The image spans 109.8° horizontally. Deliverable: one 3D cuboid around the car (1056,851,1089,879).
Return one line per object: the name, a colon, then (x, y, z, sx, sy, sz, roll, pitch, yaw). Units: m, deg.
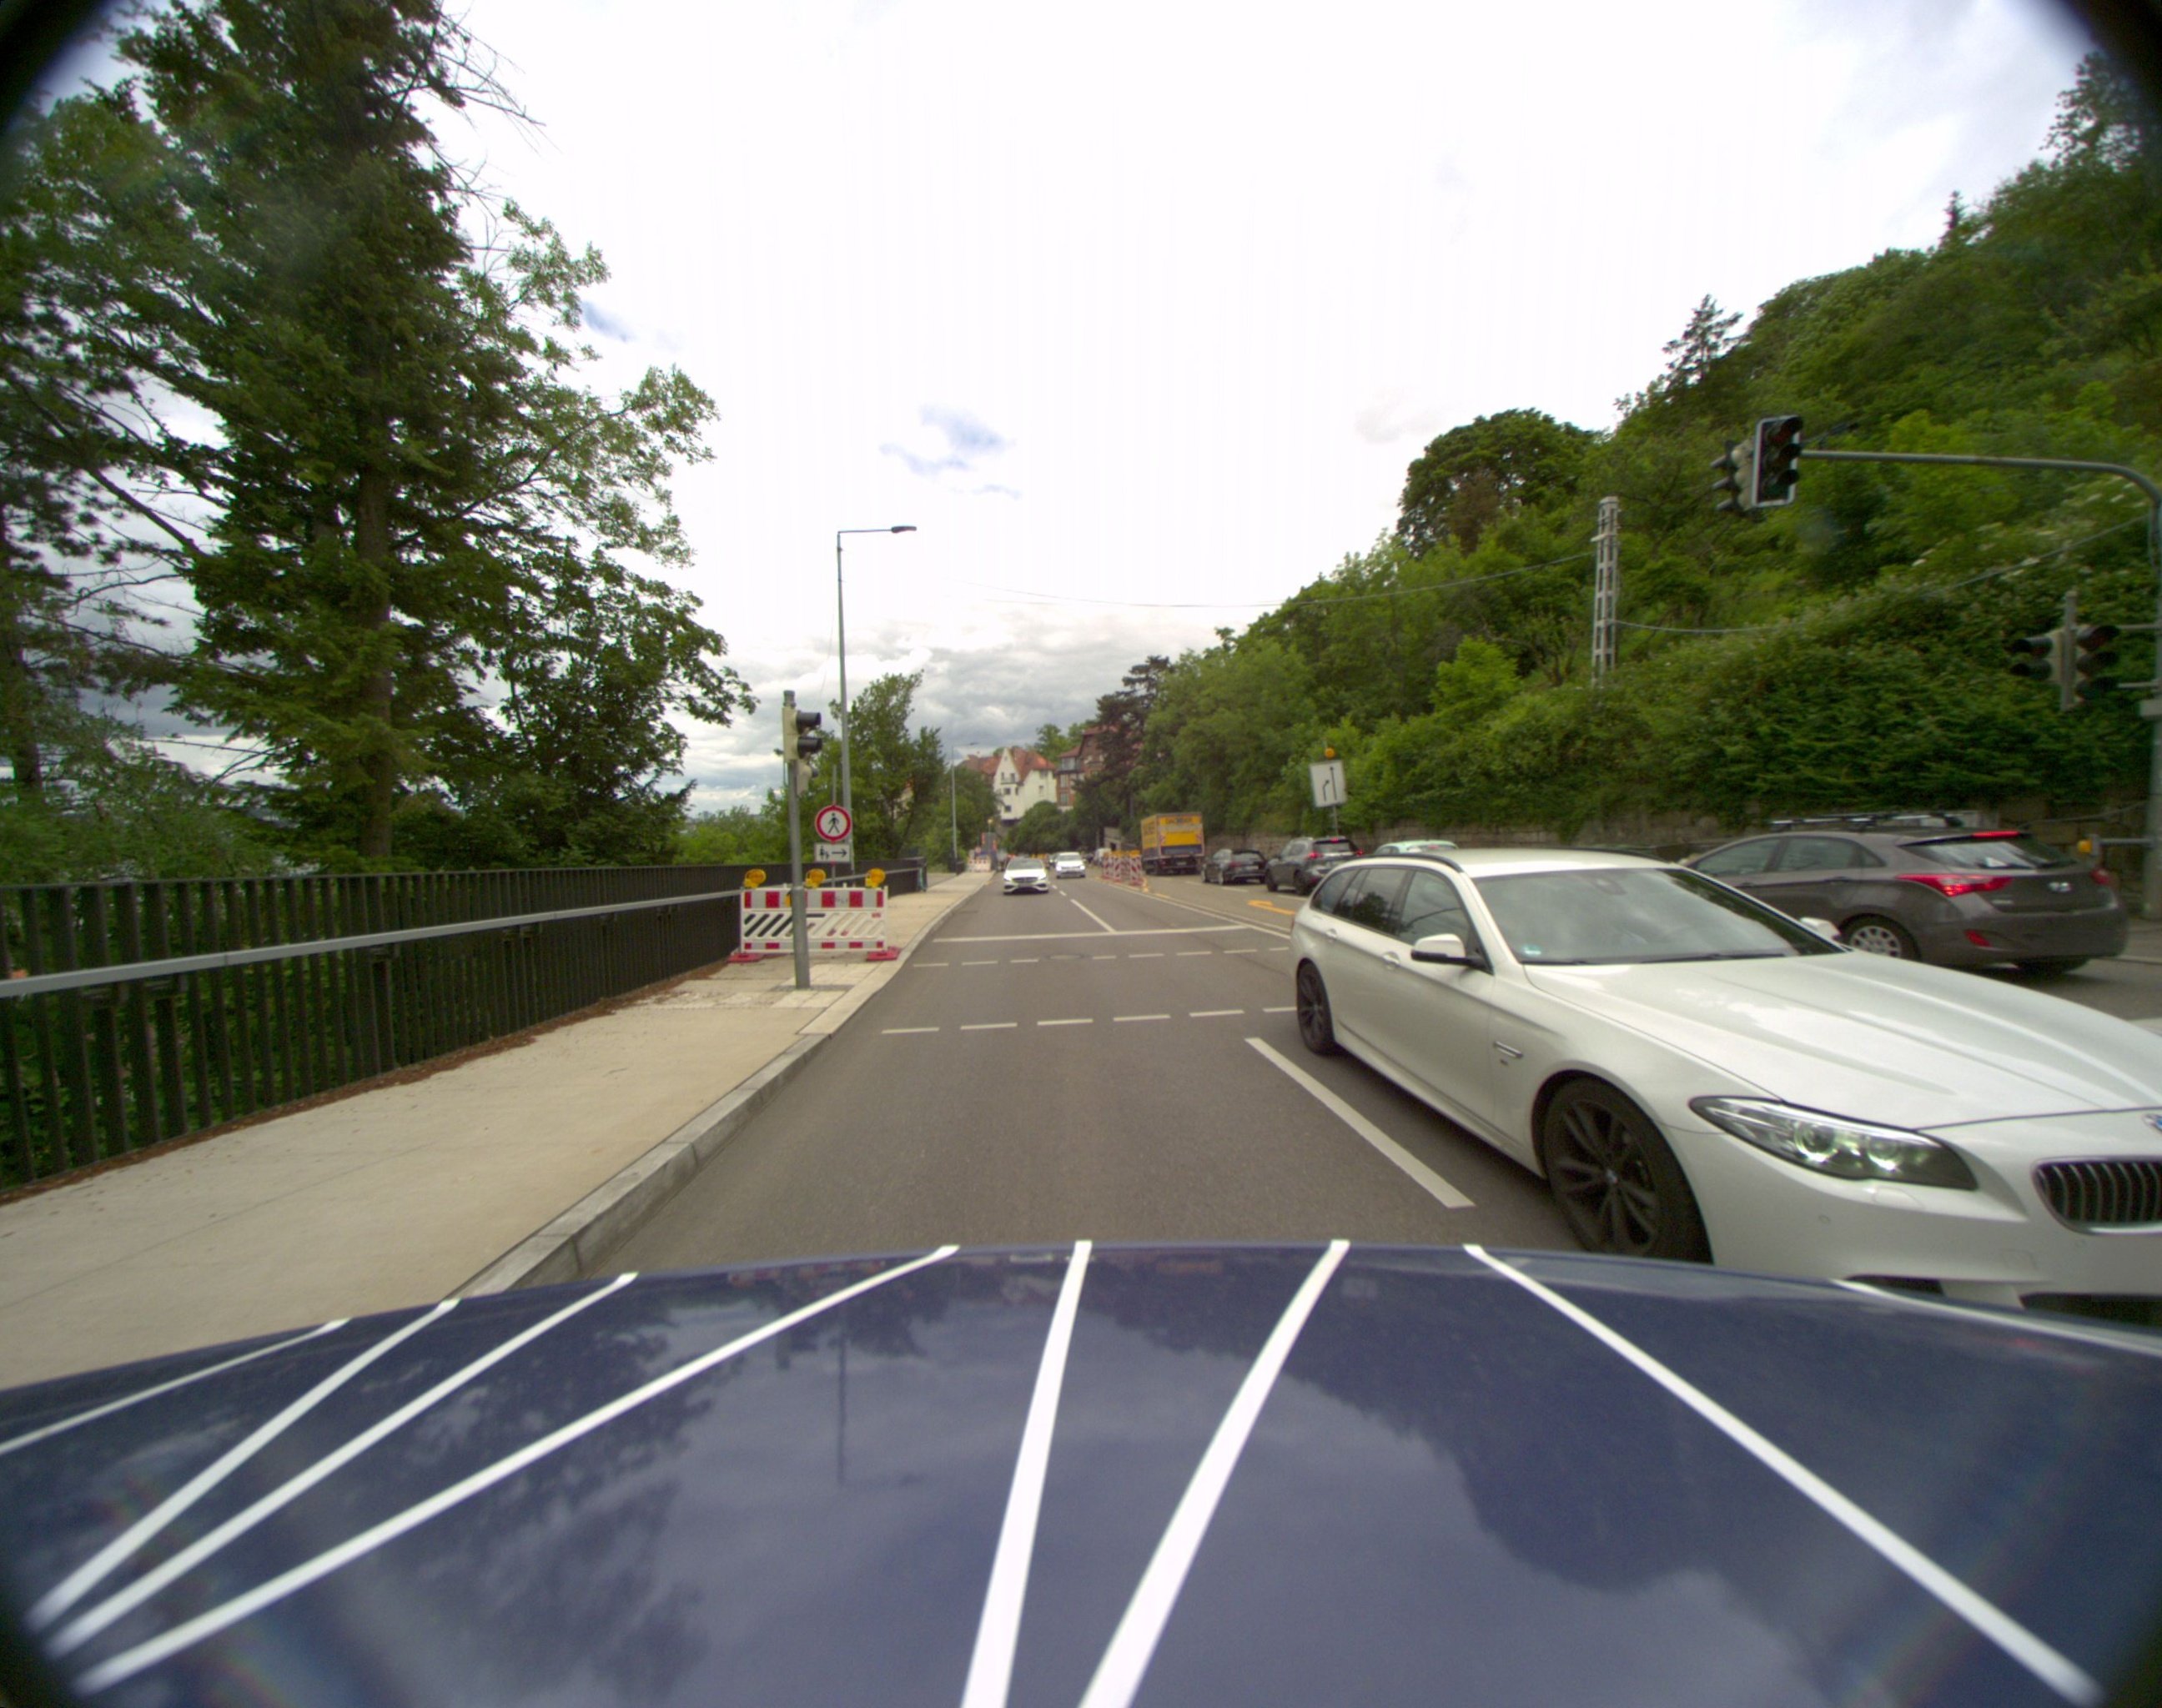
car: (-0.577, 0.649, 47.807, 1.886, 1.569, 3.998, -4, 1, -2)

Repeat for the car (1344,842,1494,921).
car: (7.250, 0.530, 16.721, 1.715, 1.458, 3.661, -3, 0, 2)

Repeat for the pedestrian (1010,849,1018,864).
pedestrian: (-8.443, 0.373, 95.913, 0.620, 1.873, 0.717, 0, -2, -45)

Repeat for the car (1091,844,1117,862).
car: (2.400, -0.122, 79.807, 1.809, 1.780, 4.337, -4, 1, -10)

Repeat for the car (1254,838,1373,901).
car: (7.040, 0.430, 23.555, 1.889, 1.687, 4.669, -3, 0, -5)

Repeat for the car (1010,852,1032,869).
car: (-5.535, 0.582, 70.451, 1.845, 1.447, 4.625, -3, 0, -4)

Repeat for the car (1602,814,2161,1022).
car: (8.032, 0.474, 8.173, 1.716, 1.588, 4.204, -3, 1, -4)

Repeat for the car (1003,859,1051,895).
car: (-2.150, 0.894, 31.346, 1.798, 1.299, 4.099, -1, 0, -2)

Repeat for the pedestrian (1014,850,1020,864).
pedestrian: (-7.996, 0.373, 94.835, 0.527, 1.832, 0.795, 0, 0, -16)

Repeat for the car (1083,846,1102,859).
car: (1.459, -0.212, 96.584, 1.836, 1.583, 4.652, -4, 1, -4)

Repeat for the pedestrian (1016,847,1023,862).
pedestrian: (-7.594, 0.065, 93.776, 0.640, 1.848, 0.833, 0, 0, -16)

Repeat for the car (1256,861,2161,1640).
car: (2.580, 0.869, 4.090, 1.853, 1.458, 4.876, -4, 1, -3)

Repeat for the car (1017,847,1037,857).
car: (-9.408, -0.354, 132.370, 1.771, 1.587, 3.783, -8, 3, -28)

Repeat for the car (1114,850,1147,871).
car: (3.822, 0.445, 59.055, 1.776, 1.433, 4.743, -4, 1, -5)

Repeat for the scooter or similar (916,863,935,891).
scooter or similar: (-6.716, 0.987, 32.893, 0.536, 1.219, 1.206, 0, 0, 2)

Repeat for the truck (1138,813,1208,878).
truck: (5.365, -0.532, 45.580, 2.739, 3.490, 7.346, -2, 1, -4)

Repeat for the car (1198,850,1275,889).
car: (6.345, 0.576, 31.651, 1.815, 1.421, 4.872, -3, 0, -5)
